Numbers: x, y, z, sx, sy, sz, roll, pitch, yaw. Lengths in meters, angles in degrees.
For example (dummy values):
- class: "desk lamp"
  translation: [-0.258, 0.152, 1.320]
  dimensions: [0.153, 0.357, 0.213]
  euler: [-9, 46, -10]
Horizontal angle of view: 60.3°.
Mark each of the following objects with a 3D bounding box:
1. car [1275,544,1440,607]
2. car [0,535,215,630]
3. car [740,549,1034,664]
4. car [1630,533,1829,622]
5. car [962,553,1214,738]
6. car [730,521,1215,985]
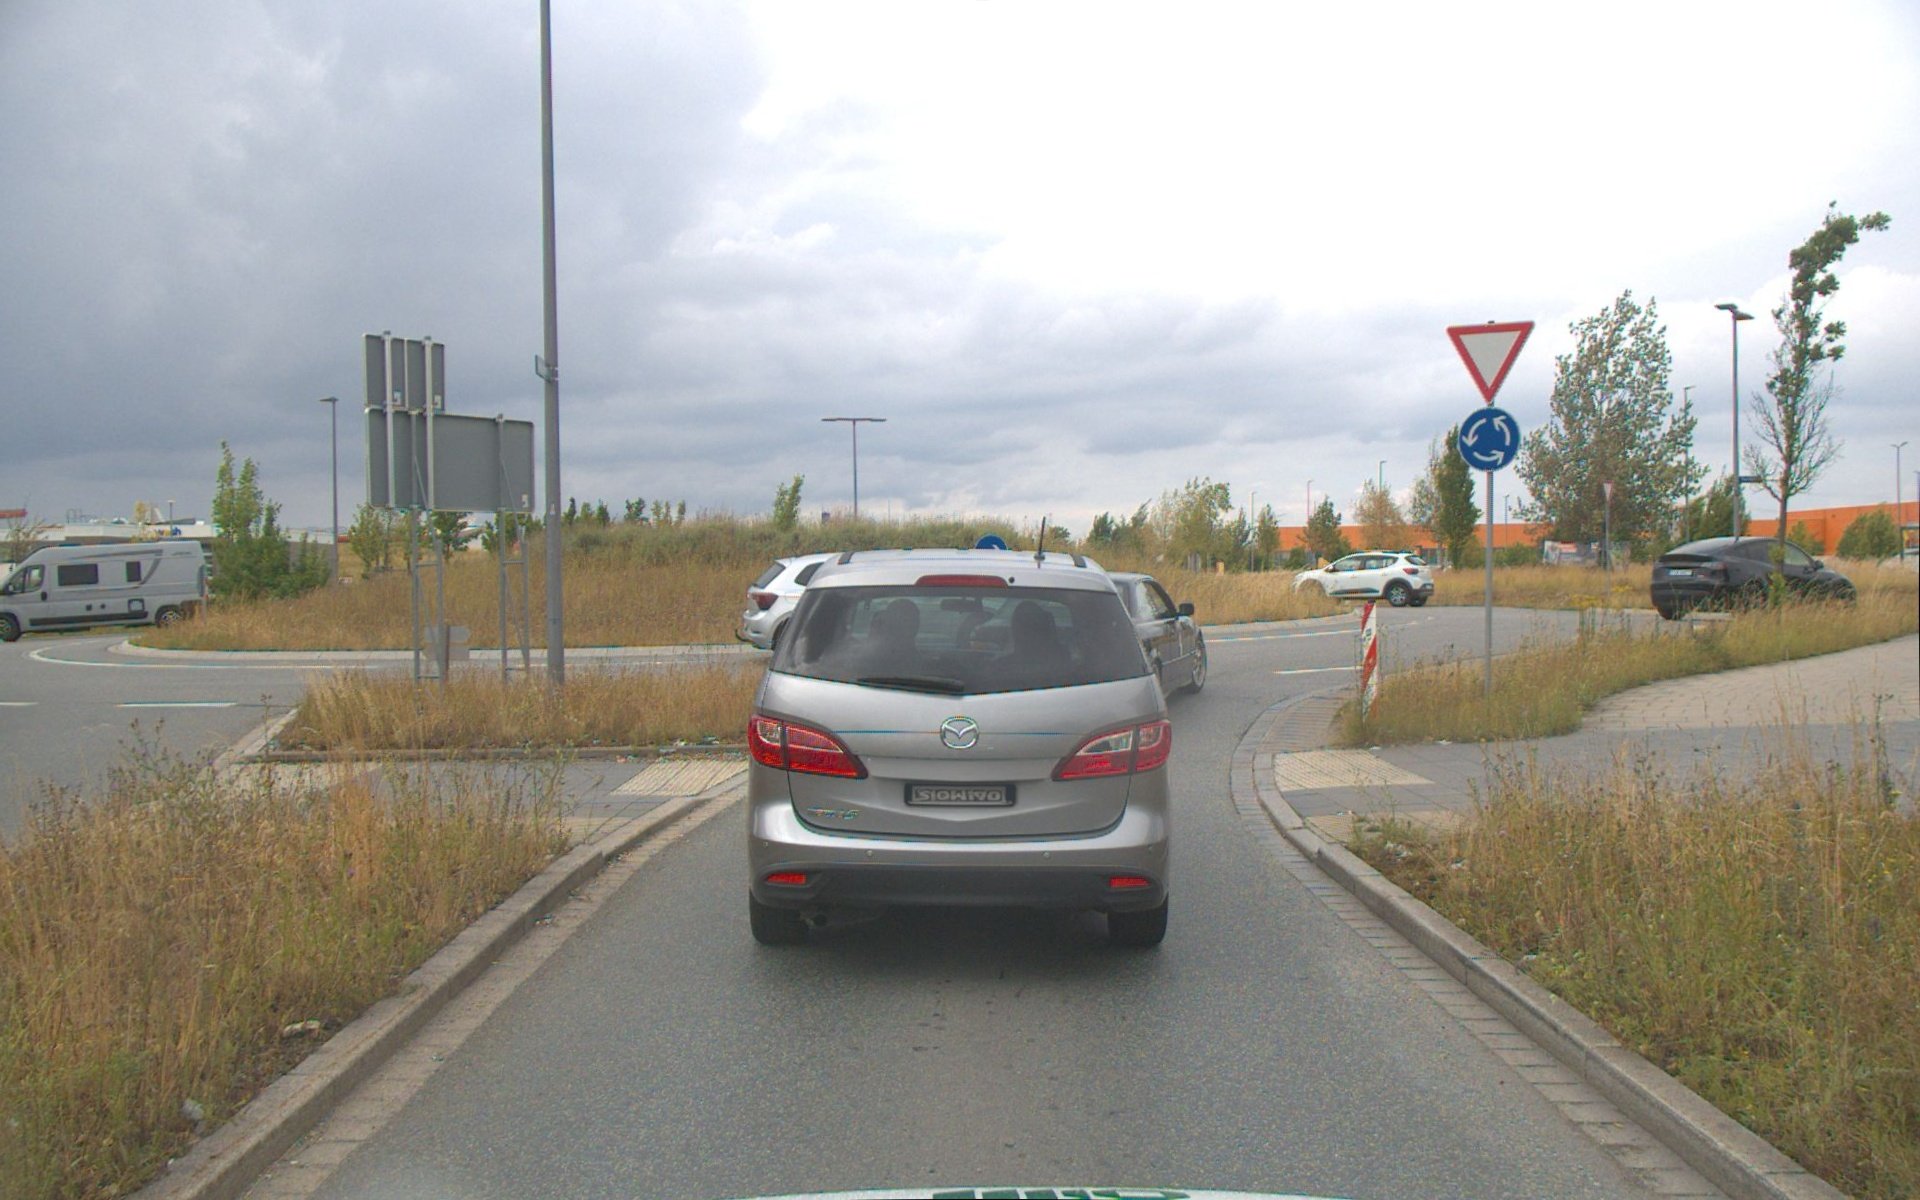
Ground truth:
- class: "car"
  translation: [11.428, -0.706, 47.593]
  dimensions: [4.248, 1.677, 1.866]
  euler: [0, 3, 32]
- class: "car"
  translation: [-23.449, -0.432, 45.054]
  dimensions: [5.626, 2.429, 2.260]
  euler: [1, -1, -28]
- class: "car"
  translation: [-1.071, 0.108, 23.130]
  dimensions: [3.914, 1.490, 1.809]
  euler: [1, -1, -10]
- class: "car"
  translation: [15.334, -0.501, 32.831]
  dimensions: [4.735, 1.524, 1.915]
  euler: [-4, 3, -42]
- class: "car"
  translation: [1.370, 0.325, 16.076]
  dimensions: [1.701, 1.427, 4.002]
  euler: [1, 3, 15]
- class: "car"
  translation: [0.033, 0.509, 7.881]
  dimensions: [1.702, 1.626, 3.997]
  euler: [1, 1, 0]
